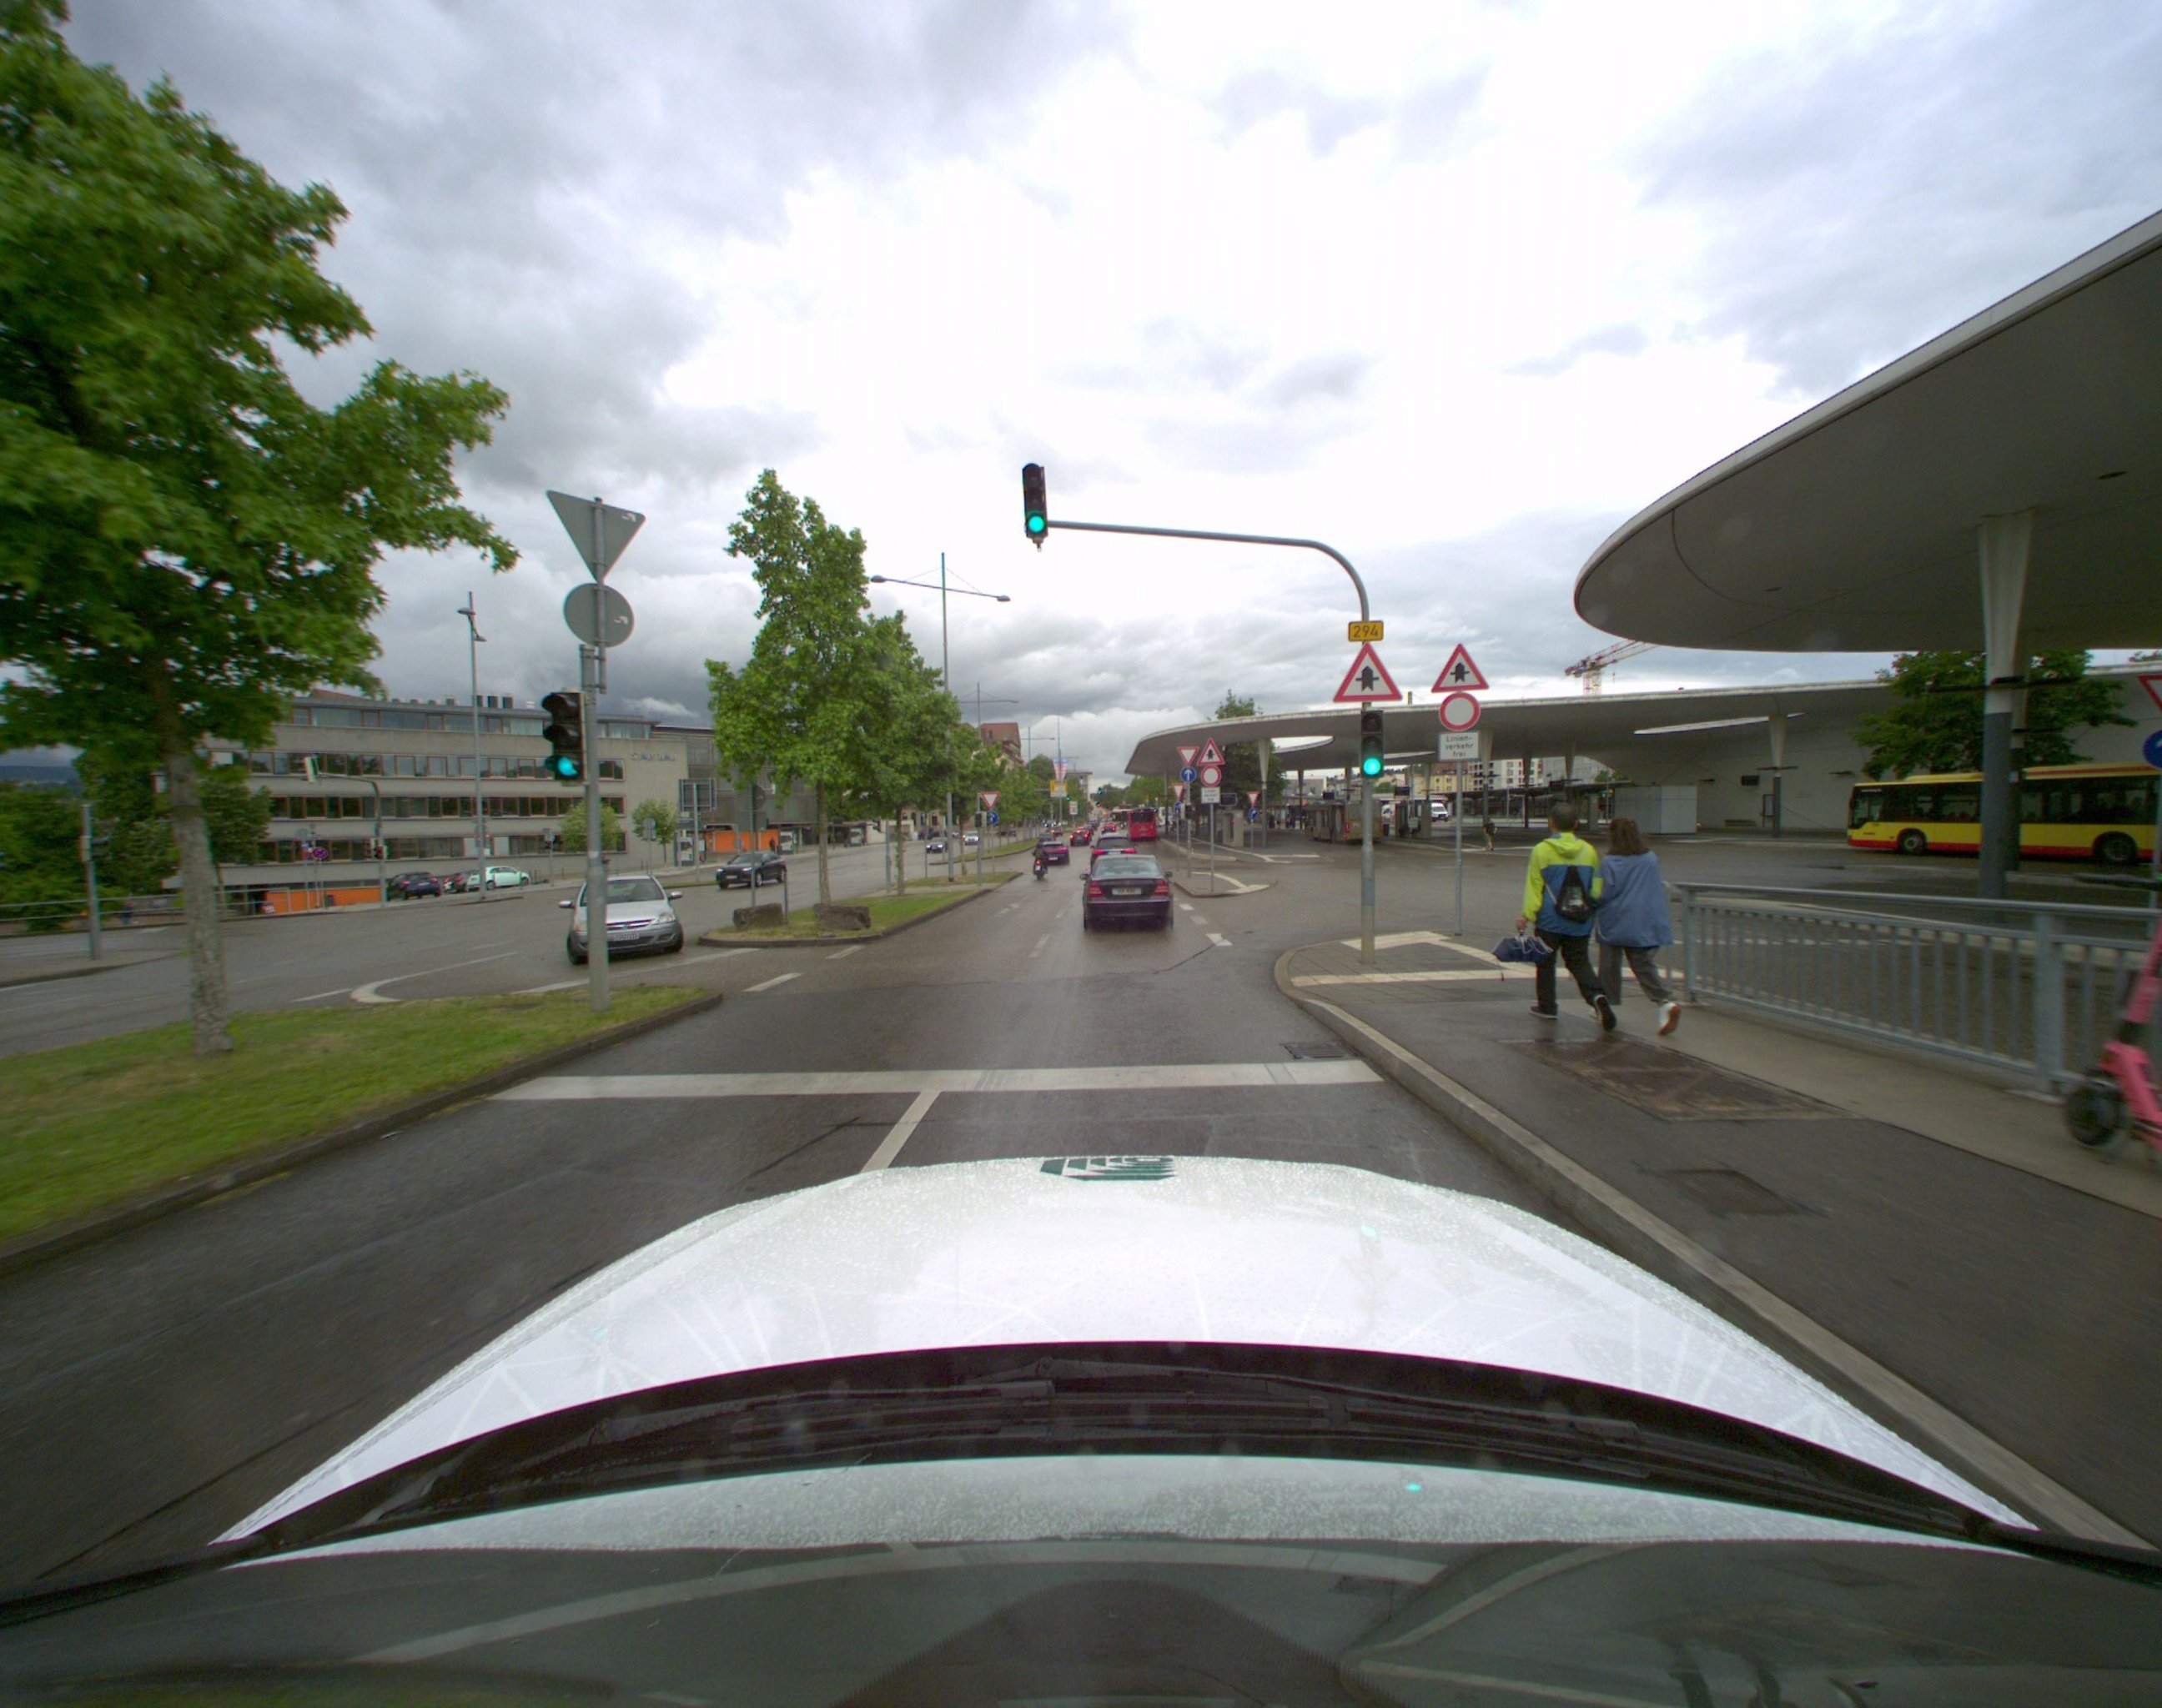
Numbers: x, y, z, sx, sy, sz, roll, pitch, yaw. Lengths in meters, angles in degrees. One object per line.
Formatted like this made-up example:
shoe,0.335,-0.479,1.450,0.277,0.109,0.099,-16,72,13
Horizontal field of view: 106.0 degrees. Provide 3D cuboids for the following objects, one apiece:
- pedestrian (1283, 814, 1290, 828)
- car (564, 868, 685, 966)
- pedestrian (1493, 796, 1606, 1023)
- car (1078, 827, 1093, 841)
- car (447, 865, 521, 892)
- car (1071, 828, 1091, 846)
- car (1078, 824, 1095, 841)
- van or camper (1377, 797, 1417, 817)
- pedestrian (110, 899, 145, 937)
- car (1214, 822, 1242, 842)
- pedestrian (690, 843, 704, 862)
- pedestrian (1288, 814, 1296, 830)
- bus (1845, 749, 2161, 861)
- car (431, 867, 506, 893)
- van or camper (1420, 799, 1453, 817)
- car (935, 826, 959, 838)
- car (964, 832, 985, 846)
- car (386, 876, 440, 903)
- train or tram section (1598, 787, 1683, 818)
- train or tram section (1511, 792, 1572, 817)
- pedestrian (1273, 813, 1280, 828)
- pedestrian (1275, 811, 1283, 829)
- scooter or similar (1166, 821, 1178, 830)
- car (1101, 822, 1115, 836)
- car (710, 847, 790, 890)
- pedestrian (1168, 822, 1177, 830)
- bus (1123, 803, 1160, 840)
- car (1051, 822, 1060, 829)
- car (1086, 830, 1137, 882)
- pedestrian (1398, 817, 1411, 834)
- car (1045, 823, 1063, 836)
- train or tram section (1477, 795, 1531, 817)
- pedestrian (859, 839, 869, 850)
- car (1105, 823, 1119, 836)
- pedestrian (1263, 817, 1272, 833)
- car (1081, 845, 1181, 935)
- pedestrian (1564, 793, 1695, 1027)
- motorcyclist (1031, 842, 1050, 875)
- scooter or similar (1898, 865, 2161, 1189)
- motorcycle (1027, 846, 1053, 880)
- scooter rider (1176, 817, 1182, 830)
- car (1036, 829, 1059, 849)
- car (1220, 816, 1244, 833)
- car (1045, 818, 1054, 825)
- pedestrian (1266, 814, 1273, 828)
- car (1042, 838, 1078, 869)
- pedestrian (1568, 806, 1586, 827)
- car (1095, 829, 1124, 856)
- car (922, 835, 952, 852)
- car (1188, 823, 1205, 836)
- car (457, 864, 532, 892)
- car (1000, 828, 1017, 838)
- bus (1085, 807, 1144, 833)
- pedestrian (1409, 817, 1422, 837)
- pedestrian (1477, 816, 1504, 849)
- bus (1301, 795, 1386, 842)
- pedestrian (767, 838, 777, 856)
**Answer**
pedestrian,24.297,-3.895,96.440,0.573,1.578,0.565,1,-1,37
car,-8.413,1.047,14.882,1.643,1.448,3.836,-4,1,-32
pedestrian,3.603,0.413,6.303,0.520,1.670,0.580,-1,-1,1
car,0.616,-2.633,108.034,1.859,1.684,4.001,1,0,1
car,-39.271,1.598,53.707,1.615,1.495,3.599,-2,2,17
car,0.039,-1.623,77.713,1.569,1.504,3.875,-4,3,3
car,0.626,-2.354,87.499,1.569,1.566,3.874,-4,3,2
van or camper,43.471,-6.460,112.045,4.592,2.557,2.119,1,1,0
pedestrian,-42.640,2.862,36.429,0.669,1.583,0.705,-2,1,-1
car,11.655,-1.782,64.875,1.642,1.452,3.238,-2,3,0
pedestrian,-29.710,-0.112,63.089,0.676,1.392,0.721,-2,2,-1
pedestrian,21.729,-3.318,83.955,0.559,1.691,0.613,-2,3,-5
bus,32.771,-1.591,27.407,2.779,3.256,12.142,-2,2,0
car,-42.369,1.752,56.383,1.743,1.495,3.813,-1,3,40
van or camper,45.836,-5.887,105.231,1.986,2.103,5.482,1,1,1
car,-22.804,-3.748,138.742,3.600,1.804,1.654,1,-1,17
car,-13.213,-1.874,101.449,1.840,1.652,4.422,-2,2,2
car,-38.622,2.022,47.050,3.536,1.350,1.493,-1,2,36
train or tram section,71.871,-6.565,105.086,3.120,3.677,11.621,2,2,1
train or tram section,72.400,-7.660,128.310,3.120,3.658,11.622,2,3,1
pedestrian,23.378,-4.009,97.327,0.573,1.716,0.565,1,-1,37
pedestrian,22.593,-3.889,92.856,0.717,2.014,0.674,1,-1,28
scooter or similar,10.740,-3.328,96.335,1.233,1.013,0.767,-2,2,15
car,3.260,-3.046,98.606,1.569,1.566,3.874,-4,3,2
car,-15.891,0.631,39.383,1.903,1.661,4.856,-2,3,-2
pedestrian,10.823,-3.311,96.258,0.906,0.985,0.636,-1,-2,15
bus,5.917,-3.338,81.660,3.273,3.291,10.888,-3,3,3
car,-5.932,-6.607,189.636,1.569,1.566,3.432,-4,3,2
car,1.330,0.018,35.554,1.950,1.875,4.877,-4,3,2
pedestrian,23.805,-2.110,59.939,0.786,1.226,0.637,-2,2,19
car,-3.844,-3.390,114.649,1.867,1.684,3.983,1,0,-12
train or tram section,72.647,-8.218,140.269,3.120,3.658,12.330,2,3,1
pedestrian,-27.167,-1.216,102.023,0.967,1.267,0.854,3,4,22
car,4.490,-3.568,118.165,1.859,1.684,4.001,1,0,1
pedestrian,18.908,-2.930,82.702,0.597,1.581,0.710,-3,0,-7
car,0.941,0.614,16.523,1.691,1.462,4.305,-3,1,1
pedestrian,4.121,0.409,6.157,0.587,1.670,0.580,1,-2,1
motorcyclist,-1.731,0.190,34.962,0.638,1.347,0.690,-3,2,5
scooter or similar,4.332,0.661,3.143,0.462,1.221,1.860,-2,-1,1
motorcycle,-1.737,0.370,34.907,0.789,1.262,1.858,-4,3,5
scooter rider,11.601,-3.577,96.107,0.587,1.489,0.768,-2,2,15
car,-2.988,-1.407,73.991,1.670,1.623,3.874,-4,3,2
car,15.783,-3.109,85.263,1.706,1.662,4.241,-1,3,1
car,-7.123,-7.354,183.391,1.773,1.566,3.432,-4,3,2
pedestrian,22.298,-3.936,96.245,0.574,1.578,0.565,1,-1,31
car,-1.193,-0.080,49.230,1.809,1.570,4.407,-4,3,2
pedestrian,36.374,-2.747,59.721,0.793,1.586,0.907,0,1,-5
car,1.901,-0.825,54.661,1.734,1.566,3.874,-4,3,2
car,-14.327,-1.118,81.170,1.839,1.504,4.924,-2,2,3
car,15.294,-3.252,108.246,1.706,1.662,4.241,-1,3,1
car,-37.845,1.557,52.658,1.615,1.495,3.599,-2,2,17
car,-11.465,-3.289,129.074,1.733,1.561,3.742,-2,1,-21
bus,5.430,-5.650,136.168,2.861,3.987,11.730,-4,3,-37
pedestrian,23.680,-1.902,57.695,0.786,1.377,0.637,-2,2,19
pedestrian,21.685,-1.158,43.141,0.721,1.683,1.013,-5,2,-24
bus,19.188,-2.638,60.566,2.711,3.043,12.097,-3,2,2
pedestrian,-28.755,-0.649,75.756,0.471,1.683,0.765,-3,2,8
